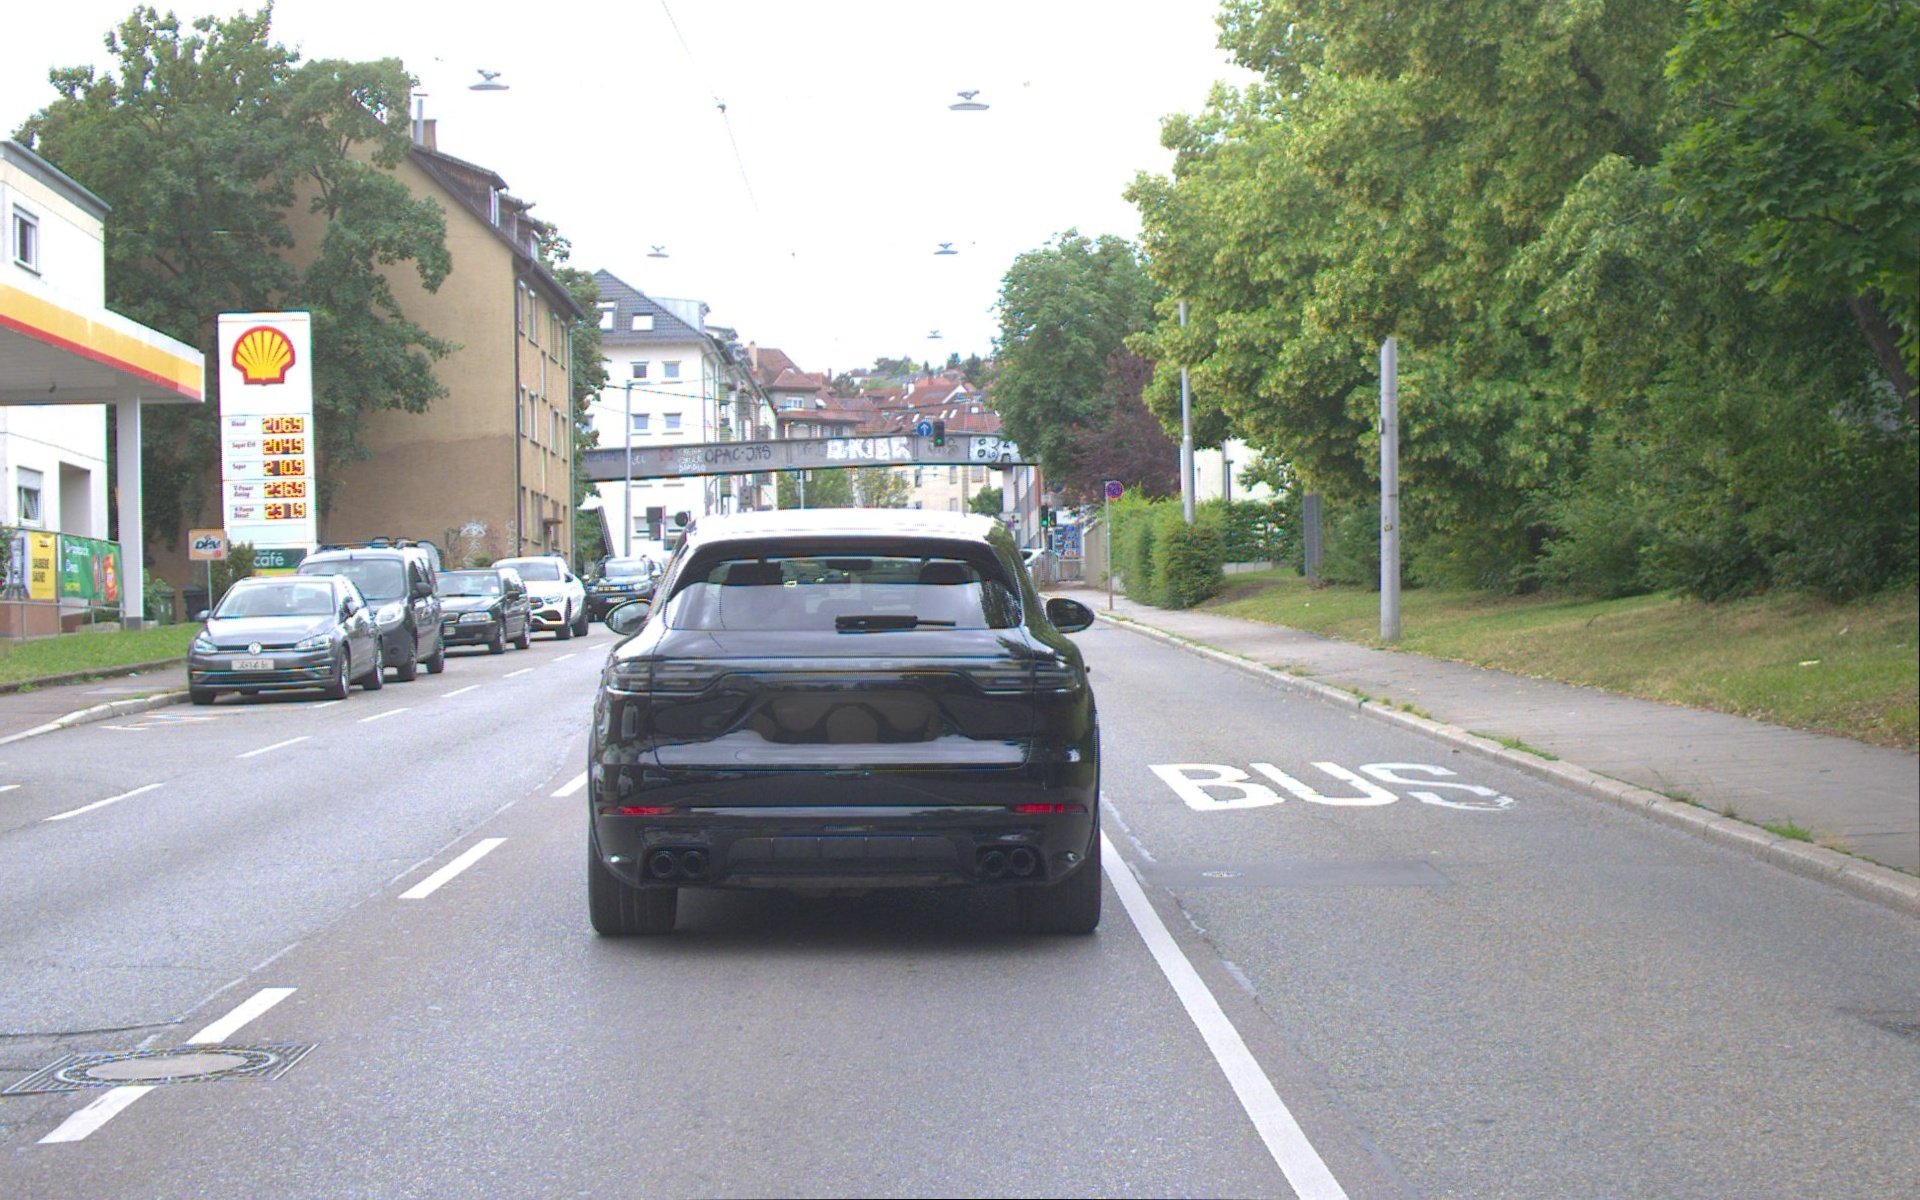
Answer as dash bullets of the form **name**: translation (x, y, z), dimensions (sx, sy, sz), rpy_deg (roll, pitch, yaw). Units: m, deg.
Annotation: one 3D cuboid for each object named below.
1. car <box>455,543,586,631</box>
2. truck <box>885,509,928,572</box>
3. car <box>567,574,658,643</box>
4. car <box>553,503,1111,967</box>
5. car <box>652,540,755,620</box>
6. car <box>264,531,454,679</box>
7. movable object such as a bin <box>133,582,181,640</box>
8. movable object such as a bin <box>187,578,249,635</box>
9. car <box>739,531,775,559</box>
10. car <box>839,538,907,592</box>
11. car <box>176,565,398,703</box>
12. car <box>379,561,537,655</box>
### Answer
- **car**: translation (-8.495, -0.276, 66.798), dimensions (1.915, 1.572, 4.700), rpy_deg (-2, 1, 0)
- **truck**: translation (-2.992, -3.289, 192.372), dimensions (2.266, 3.413, 9.879), rpy_deg (-1, 1, -1)
- **car**: translation (-8.932, 0.203, 88.577), dimensions (1.783, 1.603, 4.264), rpy_deg (-3, 1, 1)
- **car**: translation (-0.475, 0.440, 14.404), dimensions (1.993, 1.656, 4.000), rpy_deg (-1, 1, 0)
- **car**: translation (-5.220, -0.424, 70.401), dimensions (1.797, 1.520, 4.000), rpy_deg (-2, 1, -1)
- **car**: translation (-8.033, 0.028, 46.343), dimensions (1.851, 1.829, 4.702), rpy_deg (-2, 1, -2)
- **movable object such as a bin**: translation (-20.120, 0.275, 86.143), dimensions (0.910, 1.423, 1.397), rpy_deg (0, 1, -3)
- **movable object such as a bin**: translation (-18.642, 0.161, 86.381), dimensions (1.392, 1.423, 0.913), rpy_deg (0, 1, -3)
- **car**: translation (-11.589, -3.144, 196.660), dimensions (1.765, 1.503, 4.000), rpy_deg (-1, 1, 0)
- **car**: translation (-2.329, -0.955, 93.050), dimensions (1.741, 1.395, 4.000), rpy_deg (-1, 1, 0)
- **car**: translation (-7.888, 0.360, 40.660), dimensions (1.790, 1.445, 4.218), rpy_deg (-2, 1, -1)
- **car**: translation (-8.360, 0.103, 57.629), dimensions (1.798, 1.426, 4.743), rpy_deg (-2, 1, 1)
